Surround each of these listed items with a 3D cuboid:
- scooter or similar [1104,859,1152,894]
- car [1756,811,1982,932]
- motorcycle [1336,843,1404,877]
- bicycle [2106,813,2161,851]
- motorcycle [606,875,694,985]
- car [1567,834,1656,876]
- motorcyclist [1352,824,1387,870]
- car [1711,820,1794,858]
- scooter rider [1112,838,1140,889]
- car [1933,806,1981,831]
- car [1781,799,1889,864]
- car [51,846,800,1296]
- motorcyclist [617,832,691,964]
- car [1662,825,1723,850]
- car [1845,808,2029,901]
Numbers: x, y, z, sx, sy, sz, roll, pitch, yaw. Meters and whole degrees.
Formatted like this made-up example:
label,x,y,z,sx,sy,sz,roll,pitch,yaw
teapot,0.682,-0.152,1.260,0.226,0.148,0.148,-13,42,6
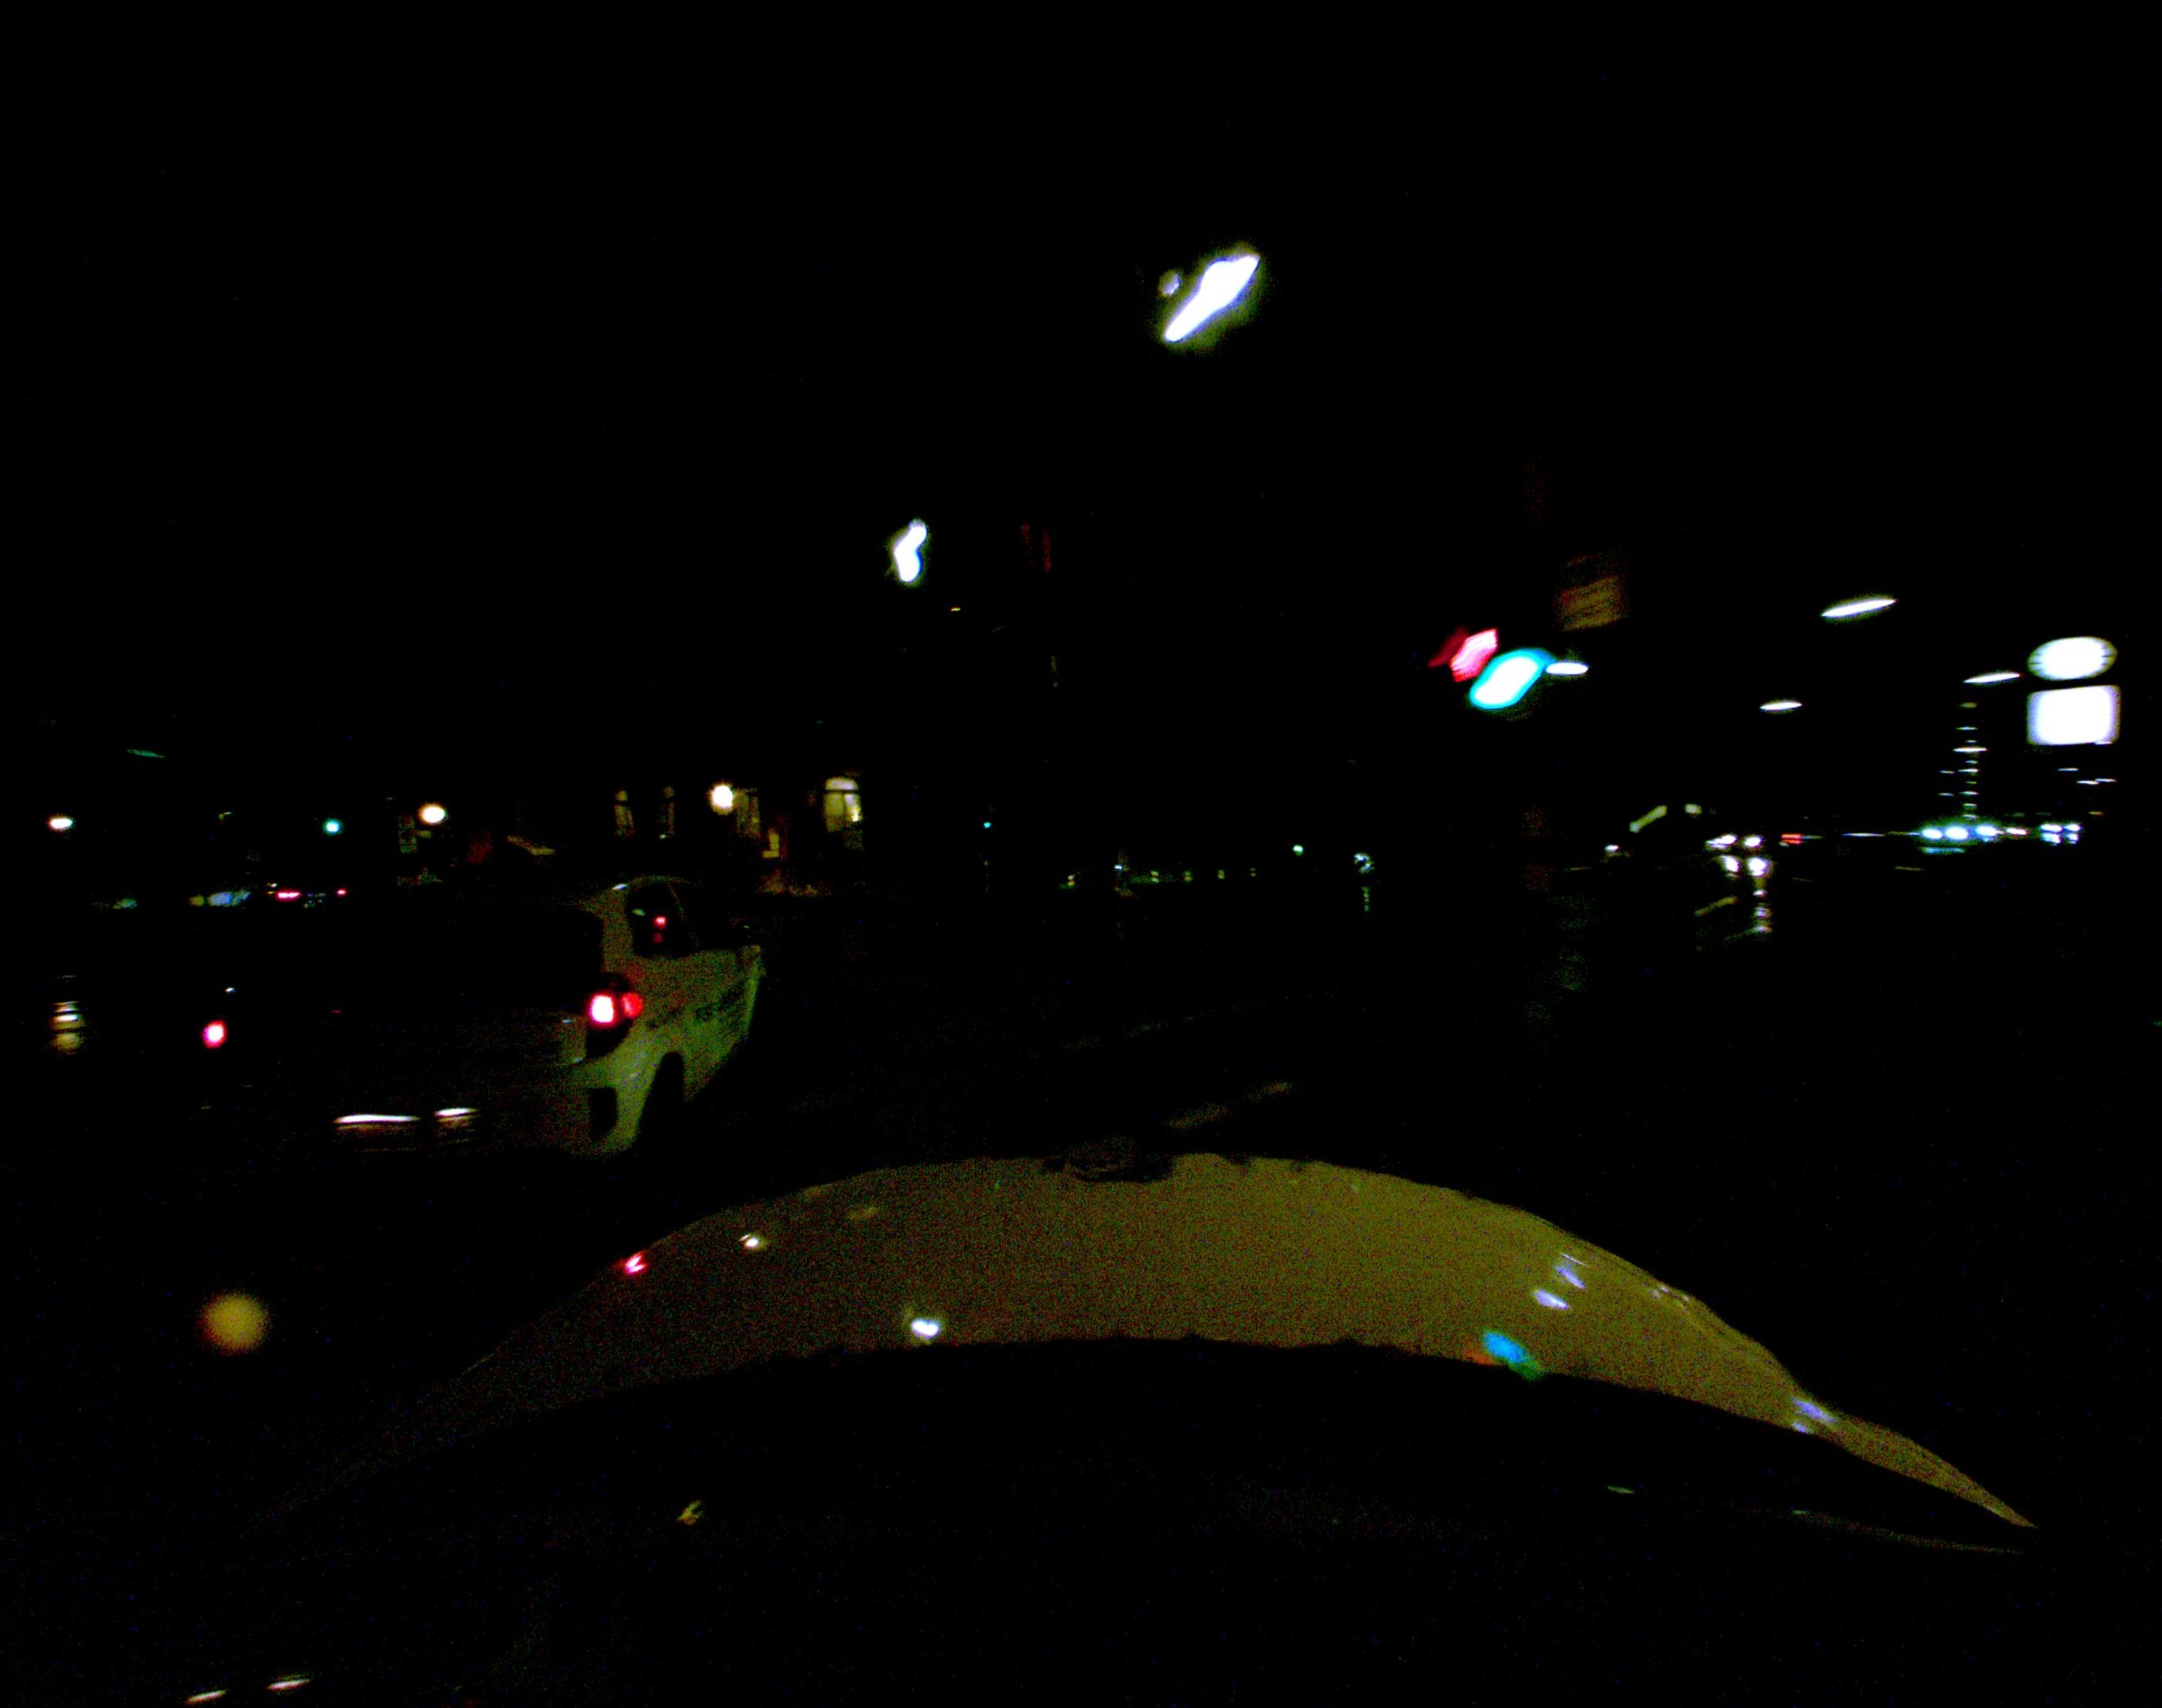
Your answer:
label,x,y,z,sx,sy,sz,roll,pitch,yaw
scooter or similar,1.493,0.691,25.729,1.370,1.052,0.637,-1,2,-23
car,11.673,0.229,12.018,3.595,1.525,1.635,-2,-3,-35
motorcycle,11.015,0.234,31.097,2.310,1.230,0.710,-2,-1,0
bicycle,35.560,-0.741,27.039,0.495,1.164,1.799,-1,-3,-35
motorcycle,-5.716,0.940,10.923,0.792,1.212,2.234,0,1,-22
car,27.576,-0.004,42.268,5.331,1.825,1.979,-3,4,-35
motorcyclist,10.999,-0.260,31.114,1.022,1.731,0.710,-2,-2,0
car,35.084,-0.792,42.505,4.551,1.869,1.882,-2,-1,-31
scooter rider,1.412,0.300,25.686,0.653,1.572,0.637,-1,2,-23
car,72.753,-2.970,67.600,4.655,1.879,1.912,-3,-1,-33
car,30.803,-0.949,33.223,5.408,2.441,2.200,-2,2,-36
car,-2.970,0.744,4.814,1.920,1.515,3.585,-1,1,-11
motorcyclist,-5.708,0.554,10.927,0.792,1.694,0.814,0,1,-22
car,36.886,-1.003,49.110,4.159,1.406,1.752,-2,3,-36
car,15.784,-0.025,14.973,4.073,1.442,1.632,-2,-3,-35
